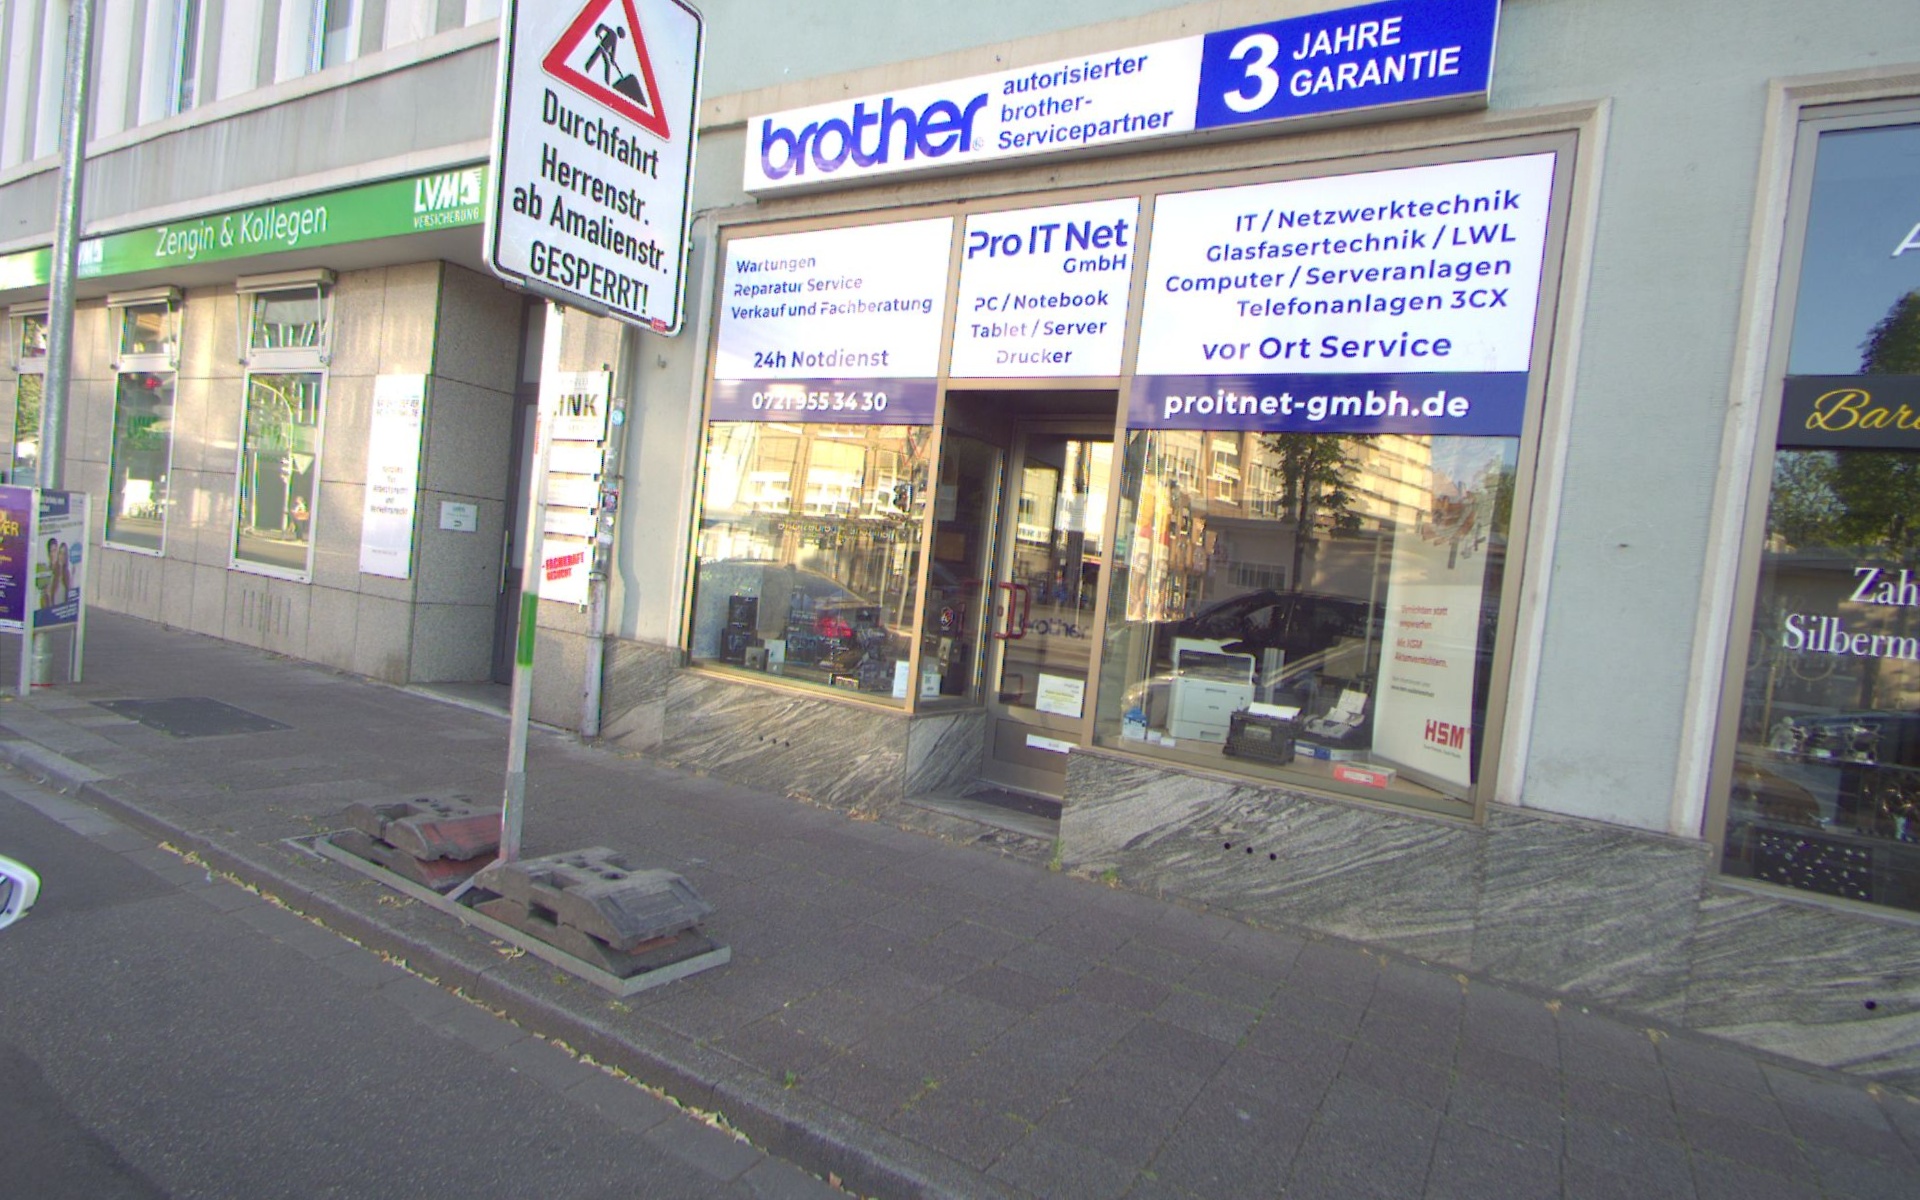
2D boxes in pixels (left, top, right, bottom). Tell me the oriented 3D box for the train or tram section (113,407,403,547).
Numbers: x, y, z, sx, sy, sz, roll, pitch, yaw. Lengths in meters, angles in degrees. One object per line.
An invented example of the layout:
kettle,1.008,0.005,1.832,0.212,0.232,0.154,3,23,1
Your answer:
train or tram section,-25.796,-4.283,38.023,3.024,3.861,10.452,6,1,2

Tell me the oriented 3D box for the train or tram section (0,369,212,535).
train or tram section,-26.080,-4.106,26.450,3.024,3.916,12.647,6,1,1
